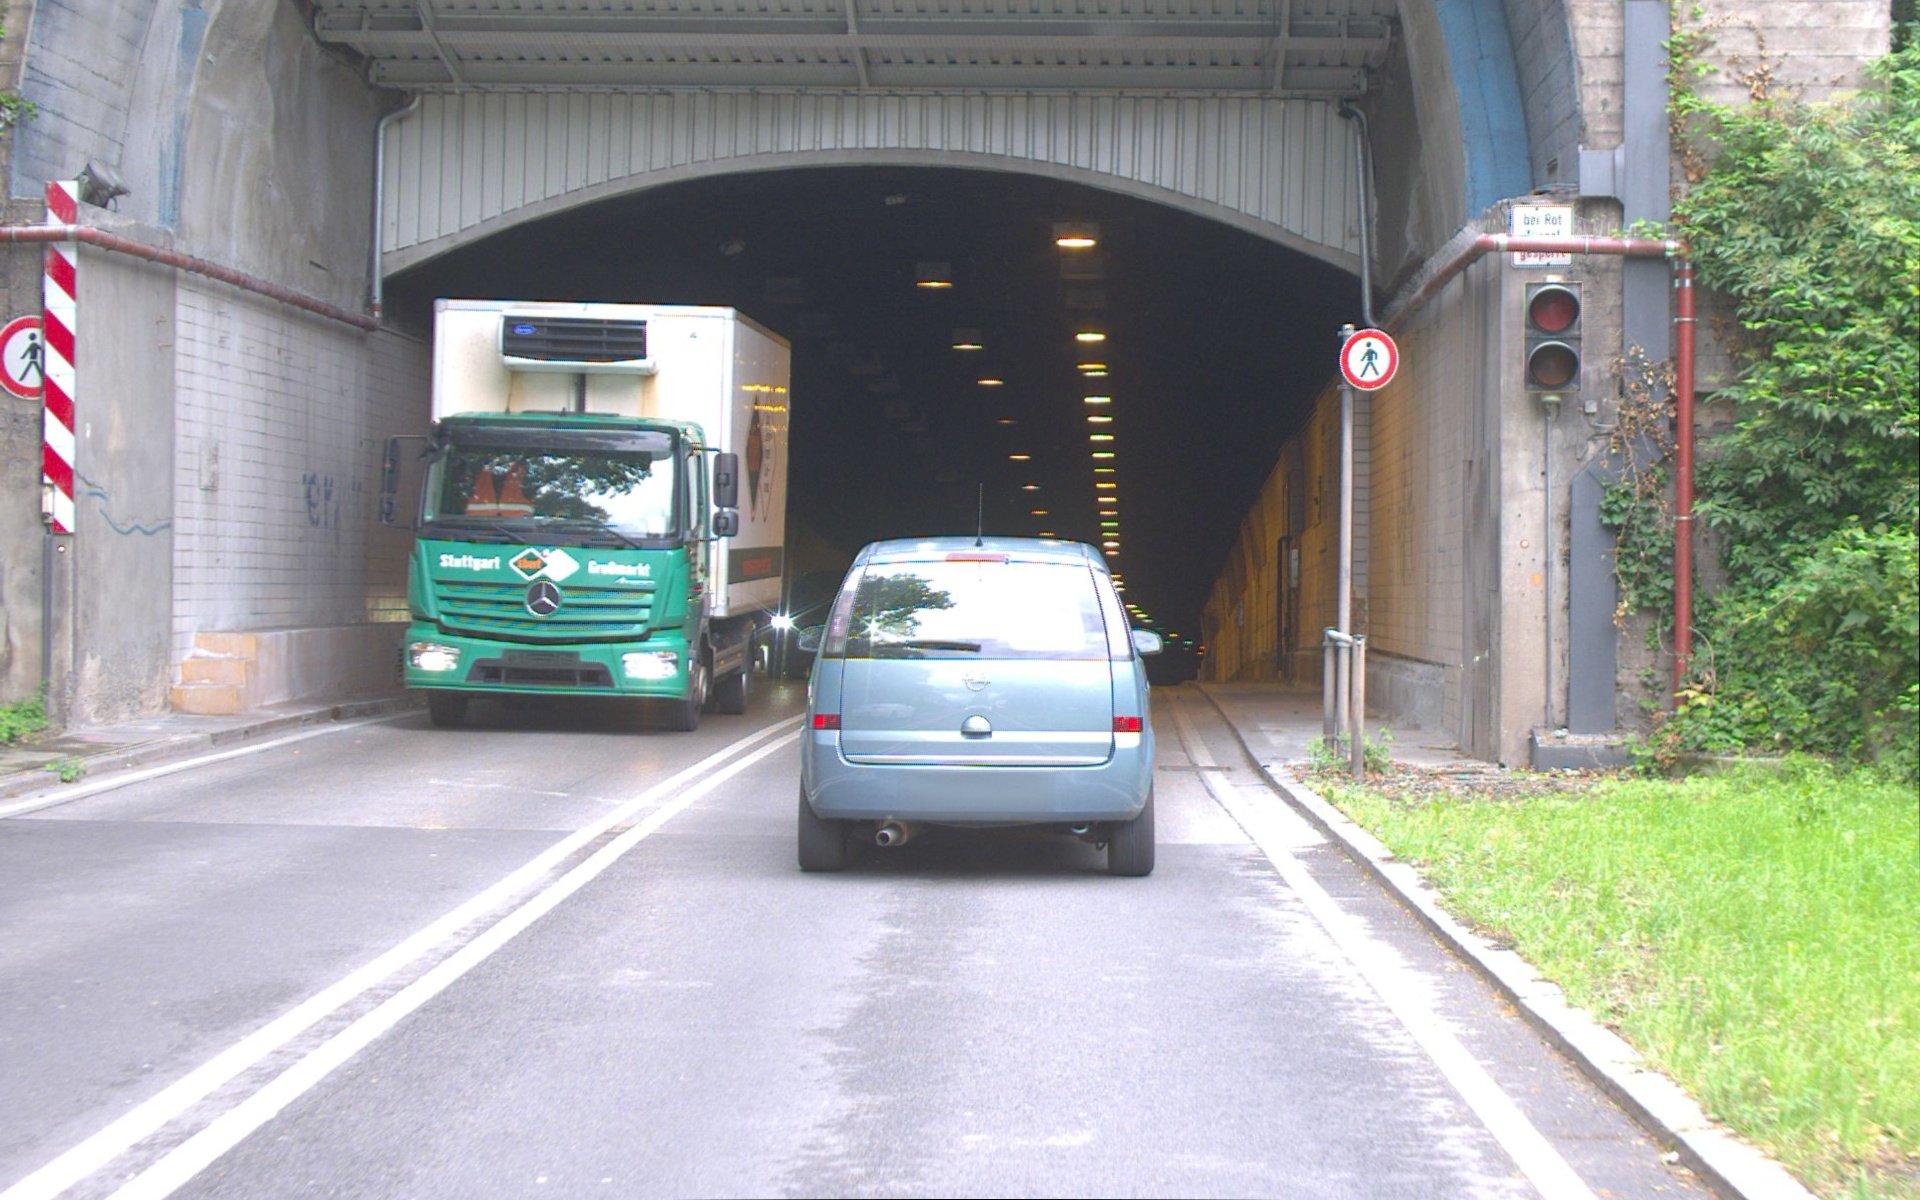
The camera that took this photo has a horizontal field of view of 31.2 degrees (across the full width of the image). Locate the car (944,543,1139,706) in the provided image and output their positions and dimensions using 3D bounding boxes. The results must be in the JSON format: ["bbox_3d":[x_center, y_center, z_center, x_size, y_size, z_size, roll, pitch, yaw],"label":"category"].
[{"bbox_3d":[0.971,0.228,38.648,1.994,1.647,4.000,0,2,4],"label":"car"}]

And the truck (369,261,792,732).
[{"bbox_3d":[-3.177,-0.856,30.828,2.676,3.654,7.517,1,1,2],"label":"truck"}]

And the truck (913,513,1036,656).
[{"bbox_3d":[0.484,-0.374,99.104,2.814,3.704,7.543,1,-2,5],"label":"truck"}]

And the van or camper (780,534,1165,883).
[{"bbox_3d":[0.107,0.472,17.338,1.735,1.572,3.646,0,1,2],"label":"van or camper"}]

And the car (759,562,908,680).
[{"bbox_3d":[-1.877,0.297,52.148,1.879,1.670,4.377,1,0,2],"label":"car"}]
